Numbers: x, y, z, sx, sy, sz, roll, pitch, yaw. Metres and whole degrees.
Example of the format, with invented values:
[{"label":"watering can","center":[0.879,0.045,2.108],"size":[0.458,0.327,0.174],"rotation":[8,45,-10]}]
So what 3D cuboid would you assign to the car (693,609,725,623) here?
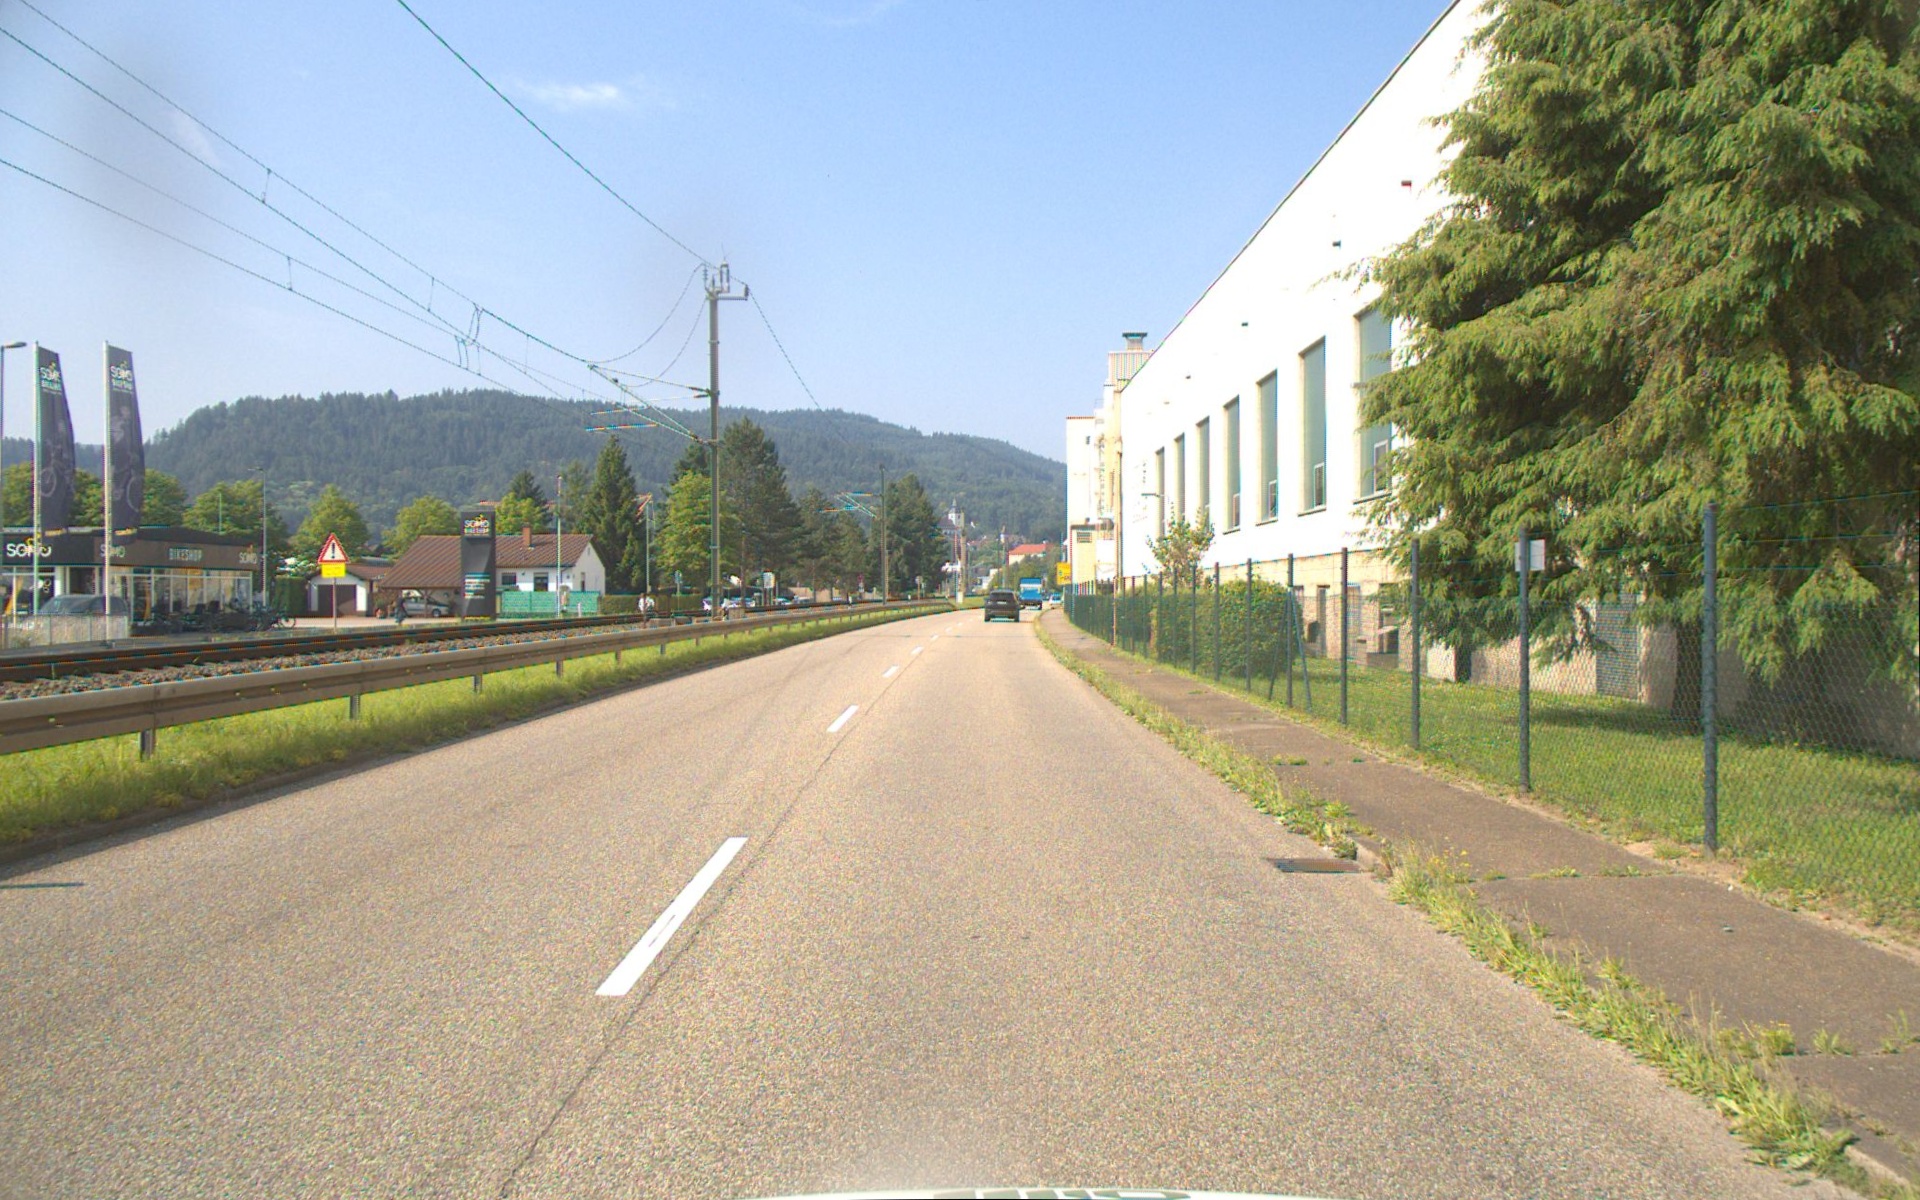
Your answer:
[{"label":"car","center":[-26.282,1.679,172.973],"size":[1.671,1.469,3.799],"rotation":[-1,0,-39]}]

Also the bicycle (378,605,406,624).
[{"label":"bicycle","center":[-31.003,0.789,90.343],"size":[0.739,1.035,1.963],"rotation":[-1,0,4]}]

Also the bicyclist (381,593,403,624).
[{"label":"bicyclist","center":[-31.024,0.474,90.303],"size":[0.730,1.648,1.146],"rotation":[-1,0,4]}]

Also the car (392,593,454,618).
[{"label":"car","center":[-37.650,0.352,116.063],"size":[3.755,1.680,1.713],"rotation":[-1,0,3]}]

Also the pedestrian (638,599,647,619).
[{"label":"pedestrian","center":[-21.562,0.625,112.348],"size":[0.562,1.355,0.673],"rotation":[-1,0,-4]}]

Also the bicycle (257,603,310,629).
[{"label":"bicycle","center":[-30.858,0.738,75.452],"size":[2.127,1.150,0.728],"rotation":[-1,0,-9]}]

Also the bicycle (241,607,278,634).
[{"label":"bicycle","center":[-30.475,0.892,71.948],"size":[0.713,1.150,2.174],"rotation":[-1,0,-1]}]

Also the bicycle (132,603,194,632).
[{"label":"bicycle","center":[-31.961,0.705,66.355],"size":[2.123,1.150,0.730],"rotation":[-1,0,0]}]

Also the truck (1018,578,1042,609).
[{"label":"truck","center":[6.917,-0.653,163.323],"size":[2.264,3.022,5.968],"rotation":[0,0,3]}]

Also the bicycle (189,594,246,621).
[{"label":"bicycle","center":[-32.583,0.331,72.584],"size":[2.127,1.150,0.728],"rotation":[-1,0,-9]}]

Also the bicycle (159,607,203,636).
[{"label":"bicycle","center":[-32.417,0.892,68.825],"size":[0.712,1.150,2.175],"rotation":[-1,0,3]}]

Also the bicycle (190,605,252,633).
[{"label":"bicycle","center":[-30.770,0.786,68.900],"size":[0.715,1.150,2.315],"rotation":[-1,0,34]}]

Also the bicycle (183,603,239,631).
[{"label":"bicycle","center":[-32.438,0.731,71.640],"size":[2.123,1.150,0.730],"rotation":[-1,0,0]}]

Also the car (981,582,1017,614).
[{"label":"car","center":[2.079,-0.098,89.275],"size":[1.880,1.668,4.000],"rotation":[0,0,1]}]

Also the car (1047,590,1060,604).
[{"label":"car","center":[12.827,-0.412,226.516],"size":[1.632,1.854,3.754],"rotation":[0,0,6]}]

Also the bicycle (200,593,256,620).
[{"label":"bicycle","center":[-32.570,0.288,73.609],"size":[2.127,1.150,0.728],"rotation":[-1,0,-9]}]
